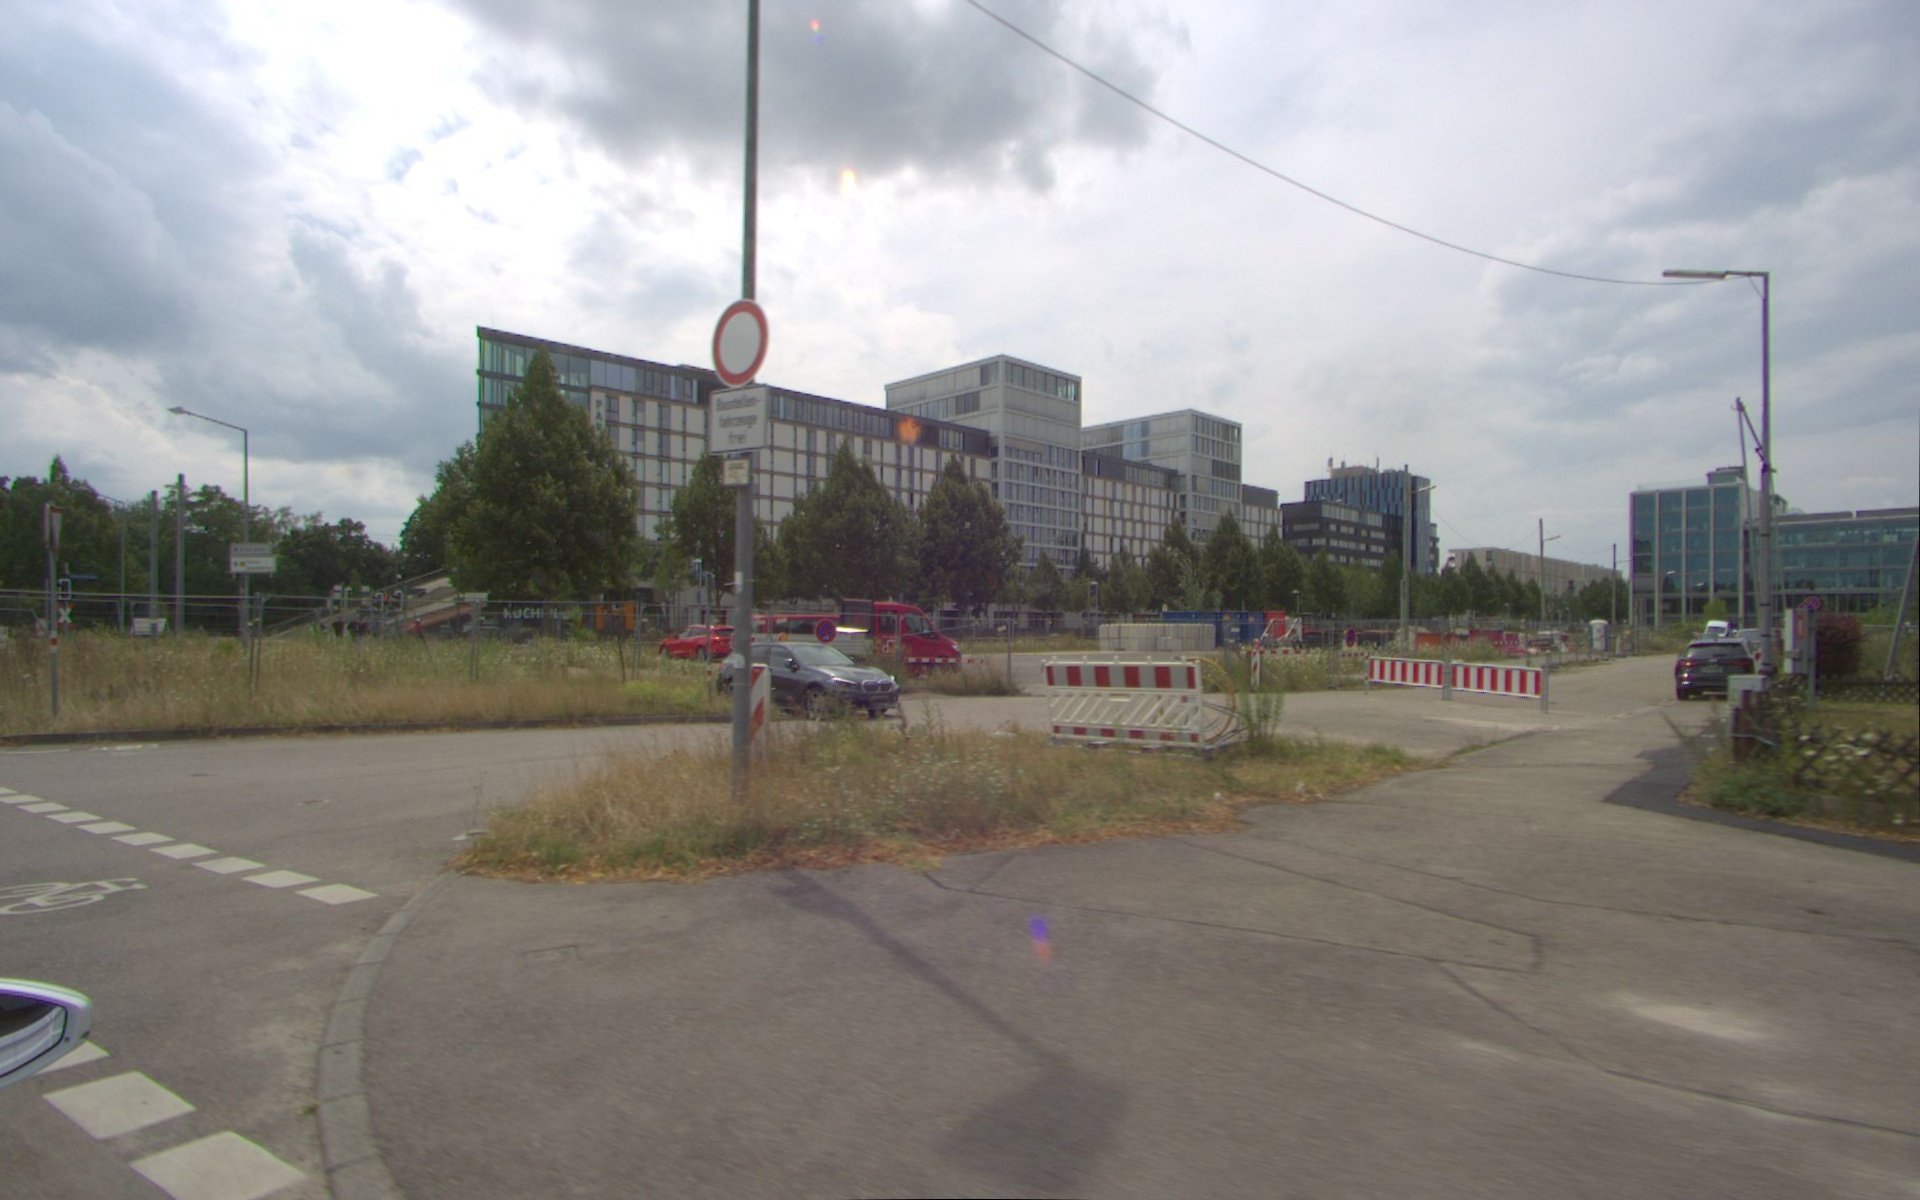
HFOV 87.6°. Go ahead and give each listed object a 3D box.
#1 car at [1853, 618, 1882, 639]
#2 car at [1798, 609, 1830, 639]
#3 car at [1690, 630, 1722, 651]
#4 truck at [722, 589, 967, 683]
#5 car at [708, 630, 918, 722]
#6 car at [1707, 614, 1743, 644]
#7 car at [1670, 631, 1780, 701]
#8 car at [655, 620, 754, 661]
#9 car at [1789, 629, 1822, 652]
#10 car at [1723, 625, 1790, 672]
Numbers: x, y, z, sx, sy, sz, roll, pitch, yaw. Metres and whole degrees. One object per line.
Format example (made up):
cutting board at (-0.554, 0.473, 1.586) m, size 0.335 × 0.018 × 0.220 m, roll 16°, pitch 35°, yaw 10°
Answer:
car at (79.840, 2.512, 88.155) m, size 1.809 × 1.705 × 3.810 m, roll -3°, pitch -2°, yaw 42°
car at (100.879, 2.834, 118.282) m, size 2.585 × 3.343 × 5.818 m, roll -3°, pitch -2°, yaw 42°
car at (64.397, 3.512, 86.459) m, size 1.809 × 1.705 × 3.810 m, roll -3°, pitch -2°, yaw 42°
truck at (-3.242, 1.039, 28.851) m, size 6.595 × 2.457 × 2.518 m, roll 2°, pitch -1°, yaw -33°
car at (-3.035, 1.445, 20.254) m, size 4.284 × 1.517 × 1.842 m, roll 0°, pitch 1°, yaw 40°
car at (83.603, 3.144, 109.374) m, size 2.585 × 3.122 × 5.818 m, roll -3°, pitch -2°, yaw 42°
car at (21.101, 1.777, 27.579) m, size 3.805 × 1.705 × 1.811 m, roll 0°, pitch -2°, yaw -44°
car at (-10.464, 1.608, 40.864) m, size 4.391 × 1.582 × 1.779 m, roll -1°, pitch -2°, yaw 42°
car at (64.887, 3.120, 76.856) m, size 1.808 × 1.705 × 3.811 m, roll -1°, pitch -2°, yaw 42°
car at (31.542, 1.884, 39.611) m, size 1.809 × 1.705 × 3.810 m, roll -3°, pitch -2°, yaw 42°
